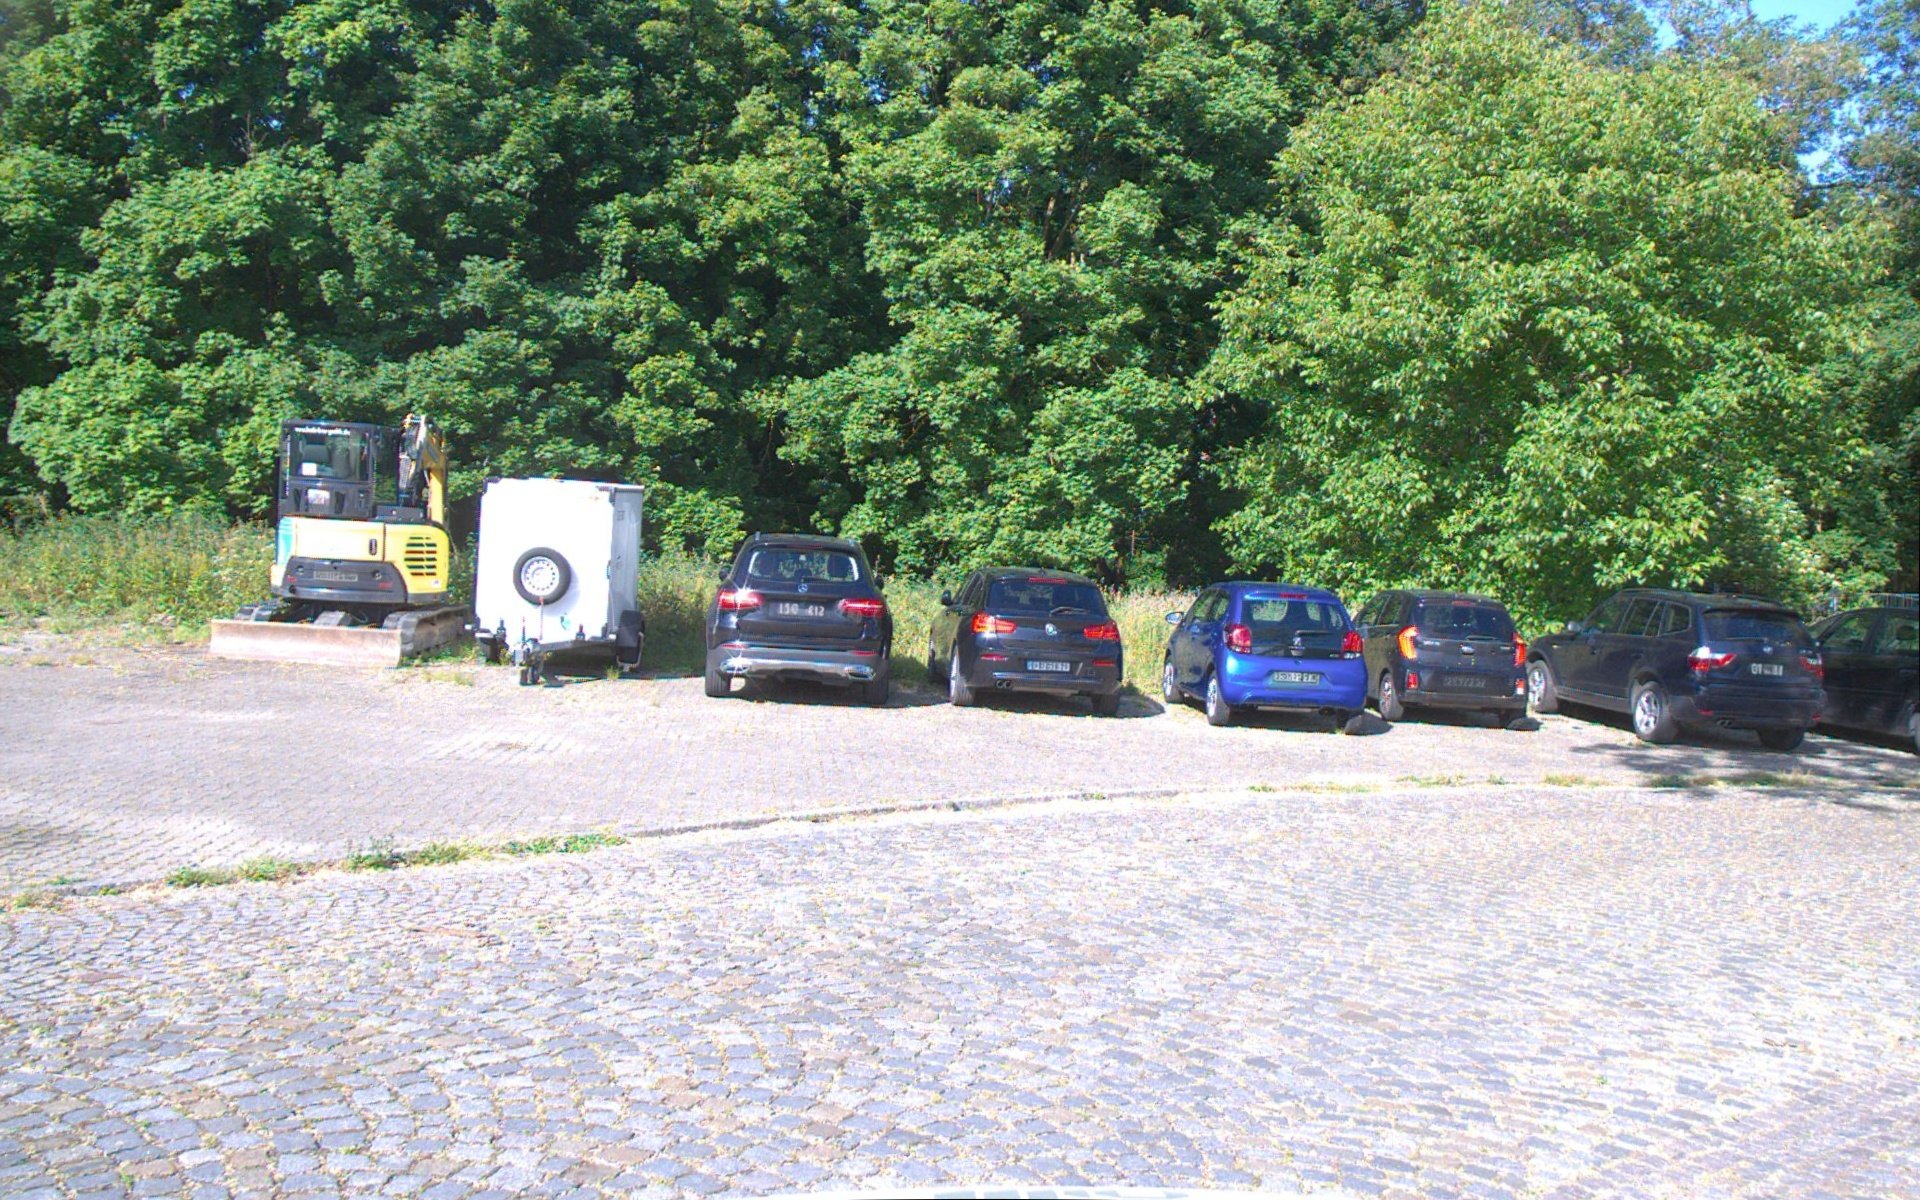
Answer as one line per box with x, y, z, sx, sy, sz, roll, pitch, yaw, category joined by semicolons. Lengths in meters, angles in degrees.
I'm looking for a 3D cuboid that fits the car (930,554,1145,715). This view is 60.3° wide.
0.733;0.291;18.041;1.793;1.476;3.660;3;1;-5;car

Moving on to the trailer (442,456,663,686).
-4.253;-0.370;17.817;1.602;2.129;3.970;3;3;-5;trailer

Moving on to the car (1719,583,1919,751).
11.409;0.809;19.929;1.757;1.680;4.287;3;3;-14;car

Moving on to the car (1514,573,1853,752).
8.419;0.641;19.714;1.777;1.684;4.186;3;3;-6;car

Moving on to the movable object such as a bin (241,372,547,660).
-6.770;-0.962;20.481;1.953;3.017;5.164;3;1;-1;movable object such as a bin

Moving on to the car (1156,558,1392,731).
3.349;0.402;18.310;1.675;1.518;3.663;3;3;-3;car

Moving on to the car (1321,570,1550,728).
5.590;0.506;19.862;1.639;1.541;3.552;3;3;0;car

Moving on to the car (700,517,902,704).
-1.597;0.046;17.484;1.825;1.669;3.819;3;2;-3;car
